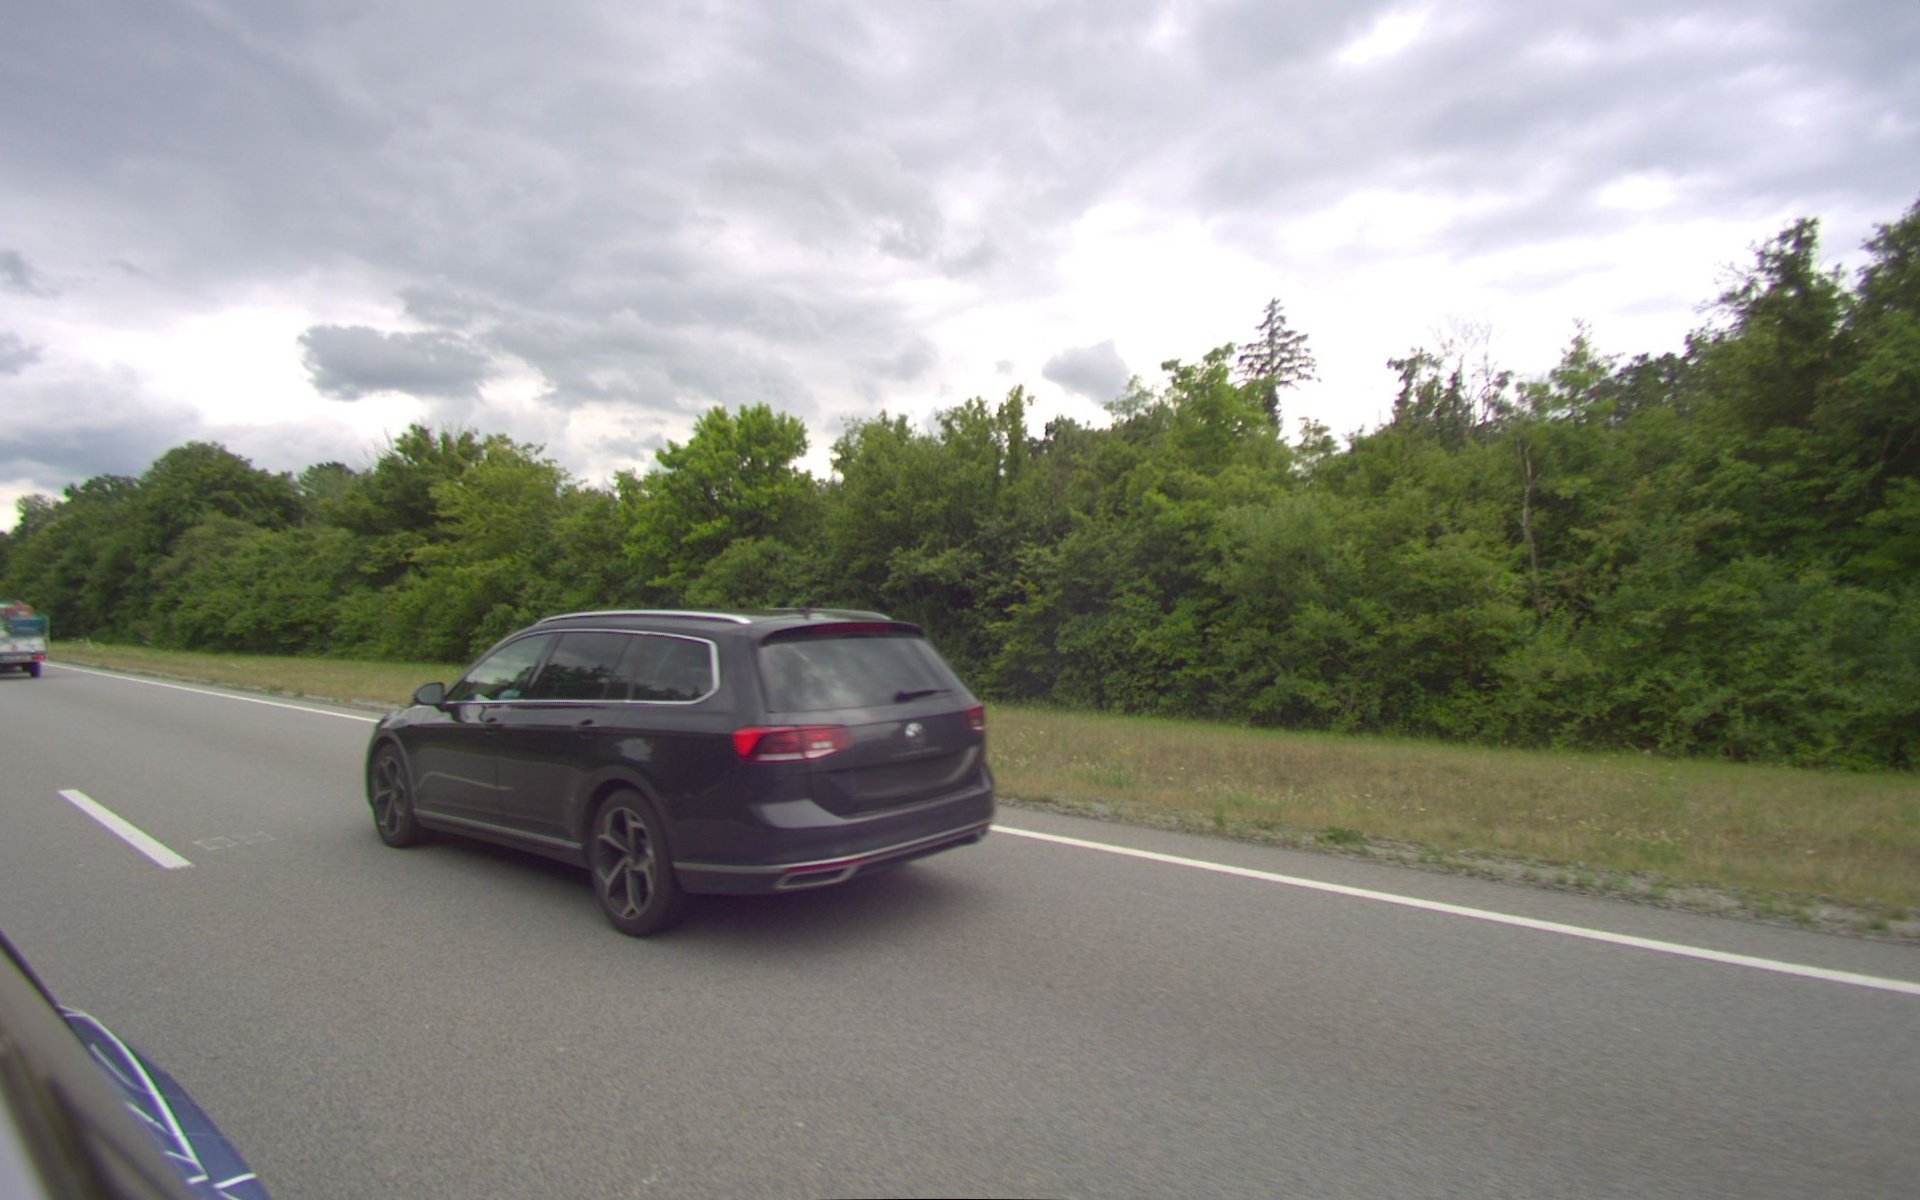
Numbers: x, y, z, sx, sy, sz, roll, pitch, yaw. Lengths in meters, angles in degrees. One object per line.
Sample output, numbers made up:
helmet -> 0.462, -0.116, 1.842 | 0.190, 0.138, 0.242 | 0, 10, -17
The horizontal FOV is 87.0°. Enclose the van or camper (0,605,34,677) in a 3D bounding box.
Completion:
van or camper -> -27.942, 1.141, 28.696 | 5.359, 1.907, 1.901 | -1, -1, 41

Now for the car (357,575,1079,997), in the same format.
car -> -1.658, 0.685, 5.686 | 4.454, 1.490, 1.671 | -1, -1, 41

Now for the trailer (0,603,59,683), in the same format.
trailer -> -24.292, 1.065, 25.726 | 3.782, 1.907, 1.606 | -1, -1, 41
